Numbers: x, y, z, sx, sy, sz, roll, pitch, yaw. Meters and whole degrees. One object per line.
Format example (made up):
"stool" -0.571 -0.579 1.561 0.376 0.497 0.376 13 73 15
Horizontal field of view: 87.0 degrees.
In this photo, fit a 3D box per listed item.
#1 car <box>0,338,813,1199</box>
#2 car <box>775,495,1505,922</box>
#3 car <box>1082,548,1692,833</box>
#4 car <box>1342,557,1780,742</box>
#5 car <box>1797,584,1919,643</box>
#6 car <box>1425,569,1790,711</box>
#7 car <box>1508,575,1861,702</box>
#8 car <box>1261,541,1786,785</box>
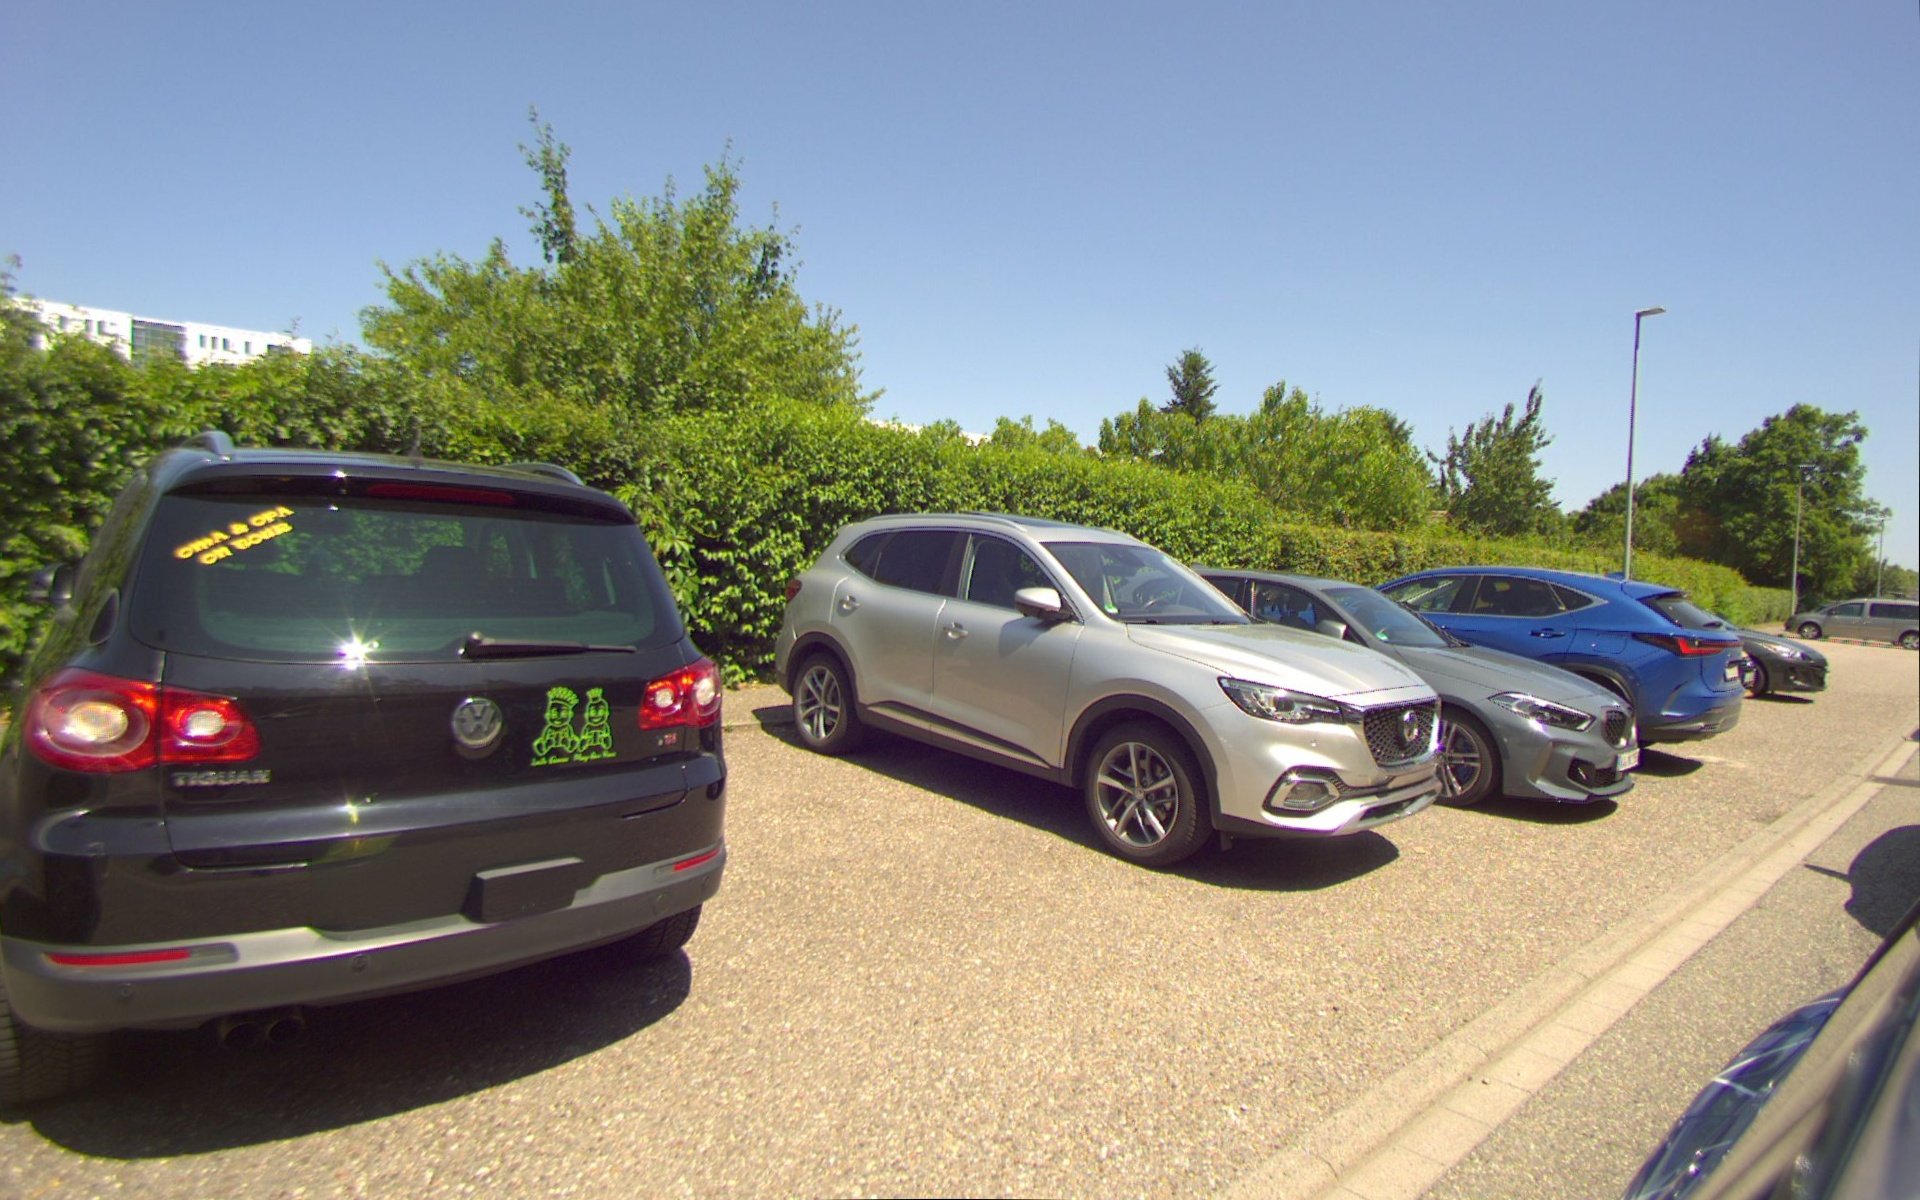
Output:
"car" -2.402 0.232 3.890 1.735 1.706 3.983 1 4 -40
"car" 0.756 0.296 6.260 1.746 1.661 4.168 0 5 -42
"car" 3.055 0.458 7.961 1.650 1.425 4.036 1 5 -41
"car" 6.845 0.423 11.911 1.620 1.532 4.037 1 5 -40
"car" 35.387 0.525 39.046 1.668 1.872 4.487 1 5 -44
"car" 9.111 0.453 14.537 1.620 1.463 4.037 1 5 -40
"car" 11.425 0.507 16.227 1.620 1.434 4.253 1 5 -40
"car" 5.199 0.402 9.820 1.644 1.661 4.037 1 5 -40
